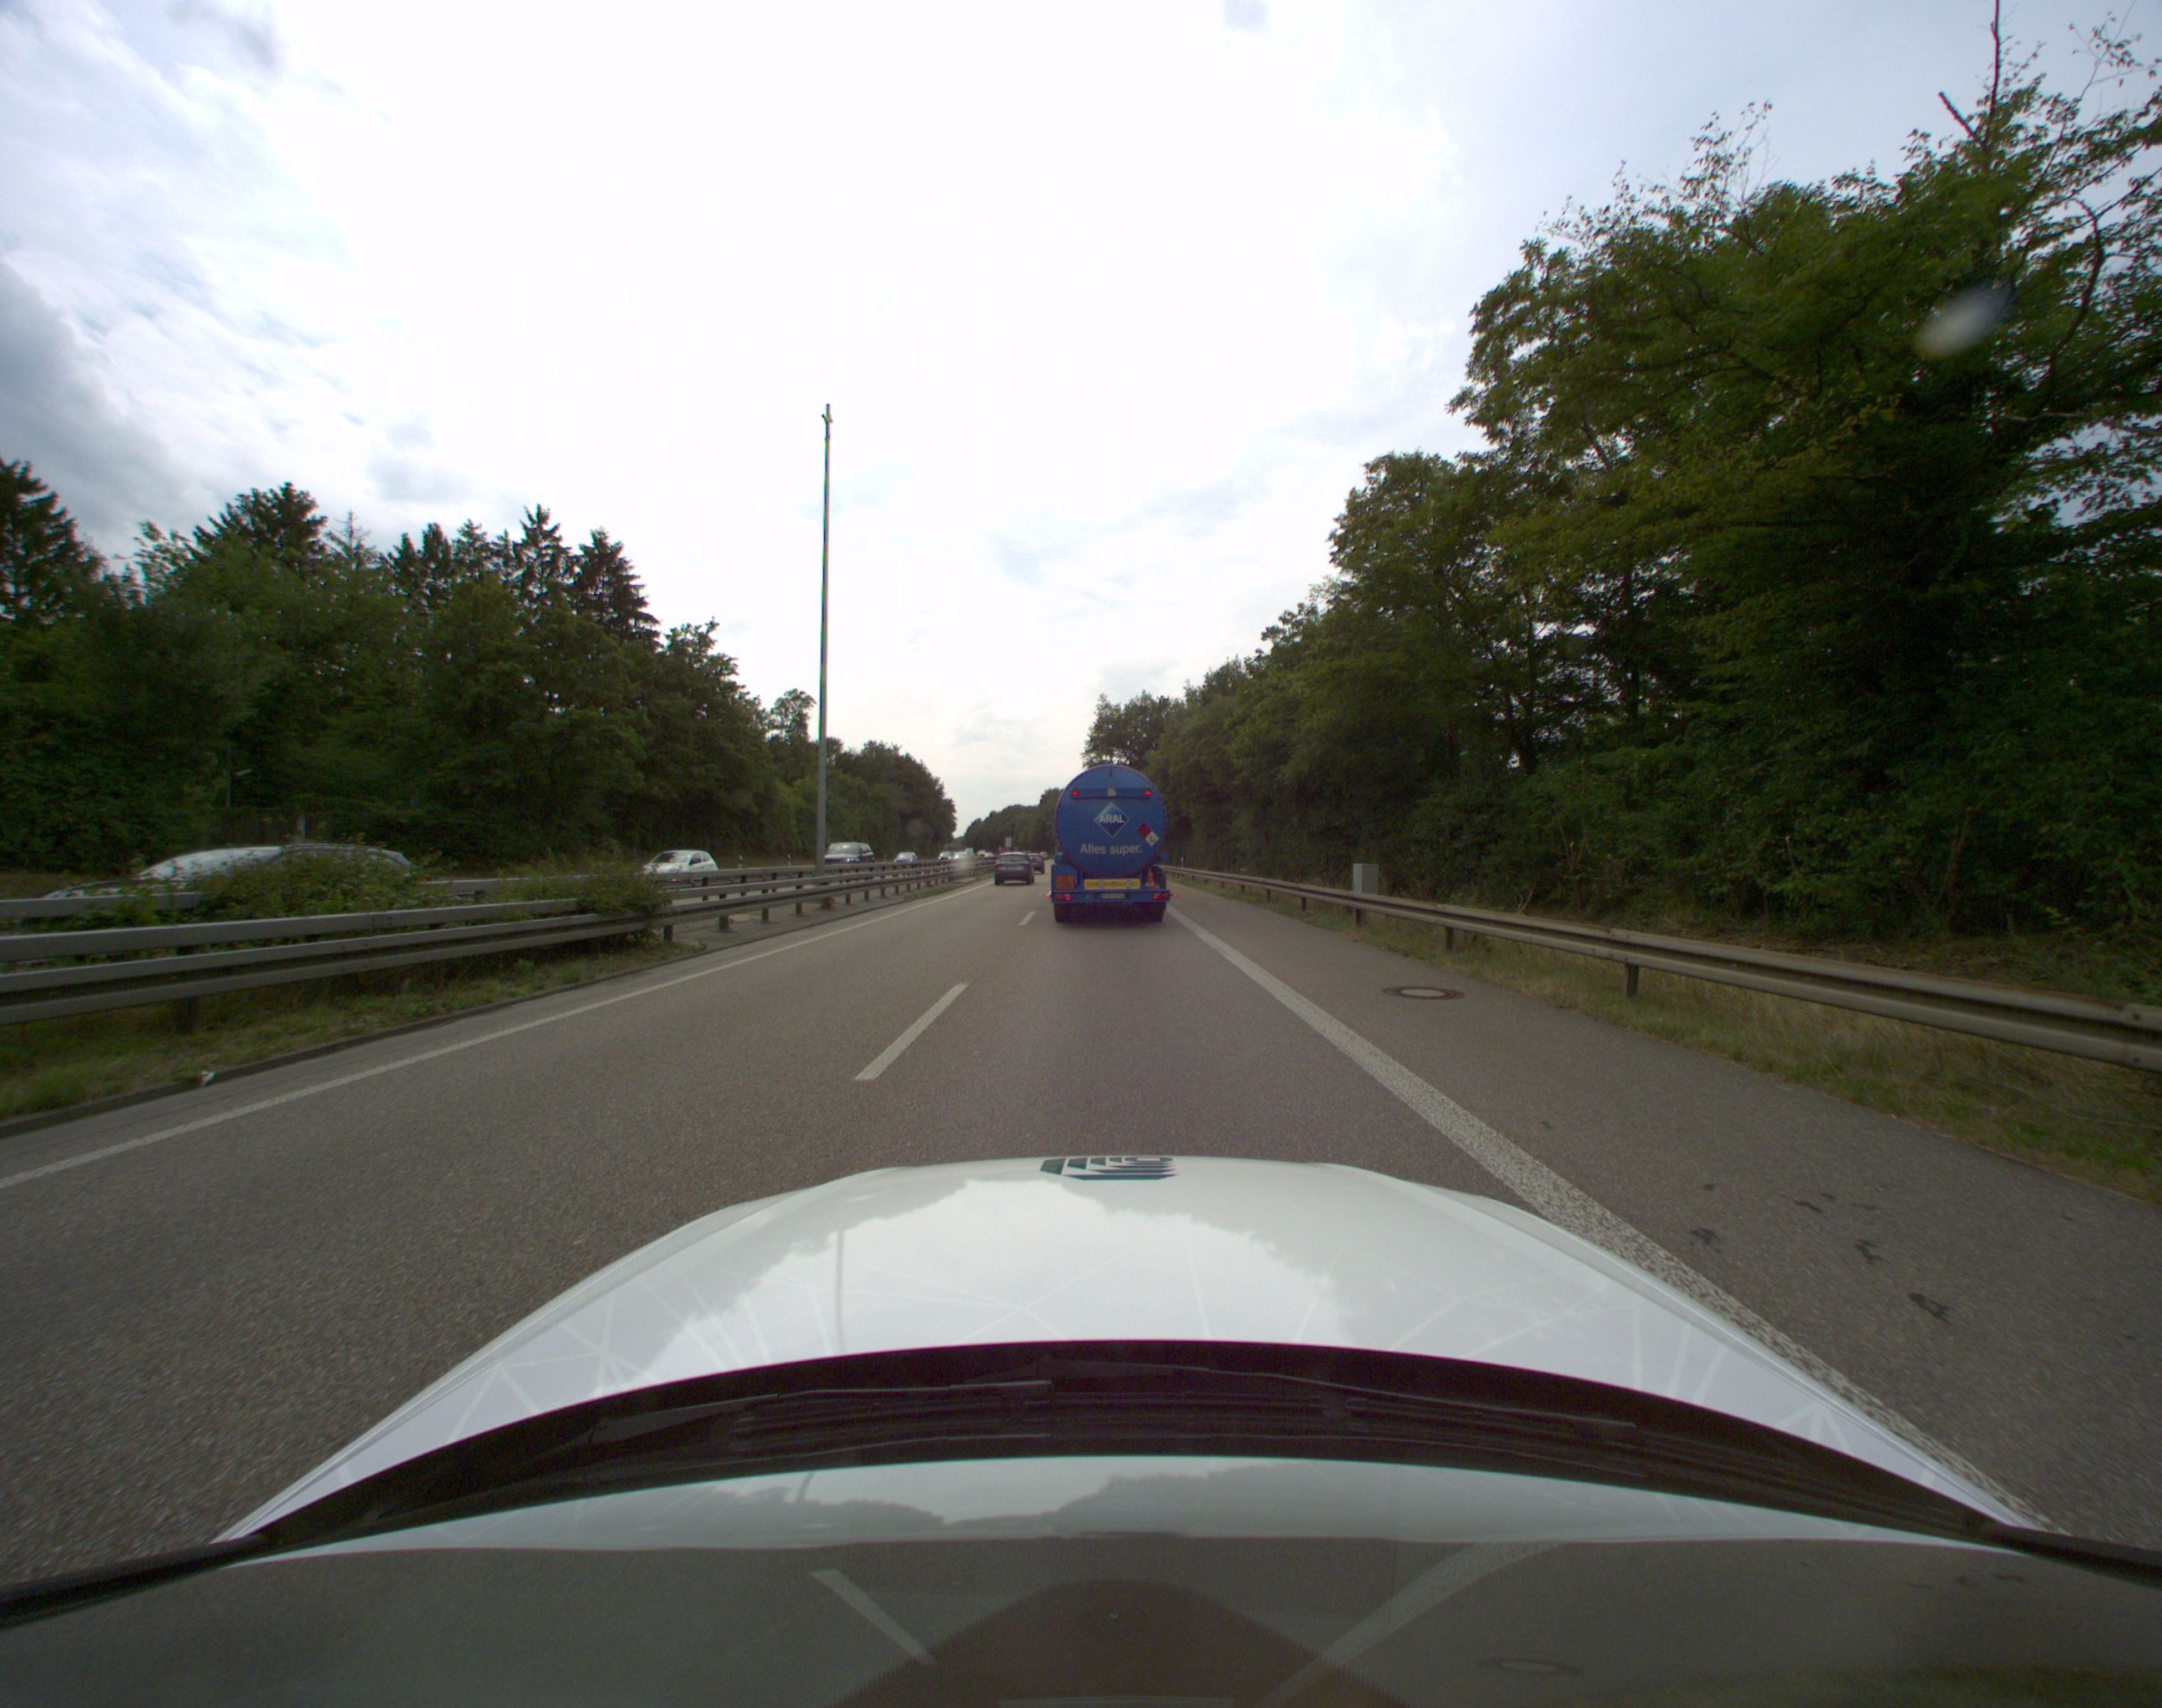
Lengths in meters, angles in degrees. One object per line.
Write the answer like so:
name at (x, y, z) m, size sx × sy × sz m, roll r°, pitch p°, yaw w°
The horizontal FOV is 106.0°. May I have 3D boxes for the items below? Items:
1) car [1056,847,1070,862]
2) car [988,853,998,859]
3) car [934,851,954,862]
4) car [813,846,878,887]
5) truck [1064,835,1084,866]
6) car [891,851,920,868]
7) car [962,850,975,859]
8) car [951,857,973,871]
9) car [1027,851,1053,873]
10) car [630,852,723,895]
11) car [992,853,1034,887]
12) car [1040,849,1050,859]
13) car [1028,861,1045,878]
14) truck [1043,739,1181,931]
car at (-2.686, 0.084, 118.728) m, size 1.988 × 2.244 × 3.997 m, roll -1°, pitch -1°, yaw -2°
car at (-18.607, 0.423, 172.810) m, size 1.650 × 1.278 × 4.710 m, roll 1°, pitch -1°, yaw -2°
car at (-16.957, 0.327, 100.806) m, size 1.973 × 1.300 × 4.065 m, roll -1°, pitch -1°, yaw -2°
car at (-11.499, 0.596, 40.128) m, size 1.786 × 1.836 × 4.955 m, roll -1°, pitch -1°, yaw 0°
truck at (-0.750, -0.313, 86.355) m, size 1.987 × 3.092 × 7.813 m, roll -1°, pitch -1°, yaw 0°
car at (-16.133, 0.527, 74.917) m, size 1.806 × 1.450 × 4.055 m, roll -1°, pitch -1°, yaw -1°
car at (-21.495, 0.117, 155.831) m, size 2.029 × 1.804 × 5.119 m, roll -1°, pitch -1°, yaw -2°
car at (-12.628, 1.076, 86.721) m, size 1.707 × 1.427 × 4.055 m, roll -1°, pitch -1°, yaw -1°
car at (-3.088, 0.626, 62.120) m, size 1.821 × 1.609 × 4.165 m, roll -1°, pitch -1°, yaw -1°
car at (-15.394, 0.726, 31.222) m, size 1.623 × 1.508 × 3.728 m, roll -1°, pitch -1°, yaw 1°
car at (-3.367, 0.766, 40.965) m, size 1.821 × 1.609 × 4.165 m, roll -1°, pitch -1°, yaw -1°
car at (-7.852, -0.030, 177.350) m, size 1.991 × 2.244 × 3.992 m, roll -1°, pitch -1°, yaw -6°
car at (-5.309, 1.811, 98.148) m, size 1.989 × 2.014 × 3.996 m, roll -1°, pitch -1°, yaw -3°
truck at (0.654, -0.376, 20.286) m, size 2.746 × 3.846 × 7.688 m, roll -1°, pitch 0°, yaw 0°
